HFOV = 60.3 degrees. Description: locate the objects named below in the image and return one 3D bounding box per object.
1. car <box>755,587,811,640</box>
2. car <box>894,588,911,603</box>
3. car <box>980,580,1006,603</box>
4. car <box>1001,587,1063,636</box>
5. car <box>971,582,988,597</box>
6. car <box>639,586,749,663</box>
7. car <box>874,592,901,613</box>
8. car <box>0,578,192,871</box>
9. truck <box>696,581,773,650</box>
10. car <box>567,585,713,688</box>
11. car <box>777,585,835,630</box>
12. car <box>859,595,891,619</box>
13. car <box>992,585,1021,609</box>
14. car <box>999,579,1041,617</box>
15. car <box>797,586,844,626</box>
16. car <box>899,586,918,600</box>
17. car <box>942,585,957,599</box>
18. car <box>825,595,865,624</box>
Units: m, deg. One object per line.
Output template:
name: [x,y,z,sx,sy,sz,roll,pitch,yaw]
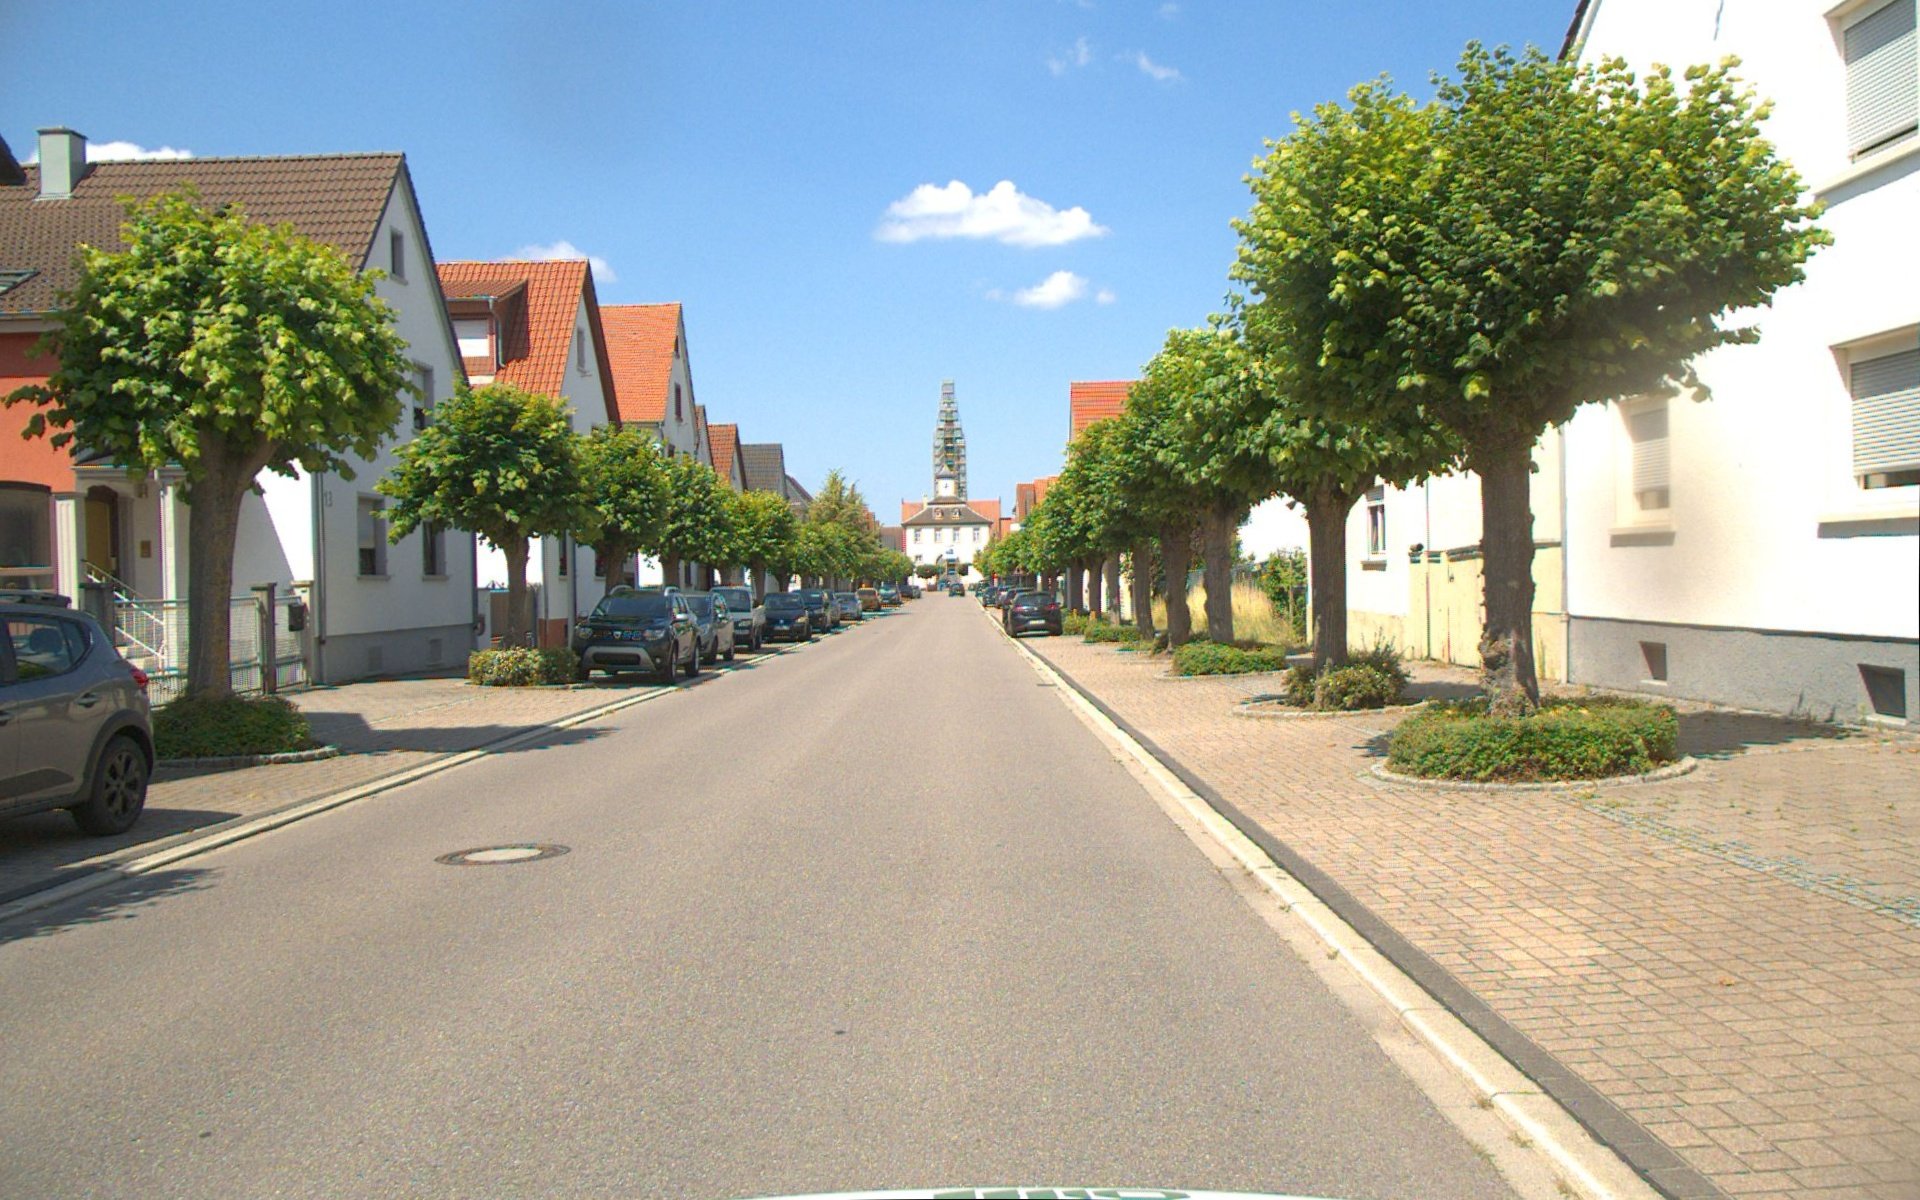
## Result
car: [-5.801,0.420,54.458,1.751,1.662,3.995,0,0,-6]
car: [-6.291,-0.490,181.646,1.721,1.582,4.020,-1,1,0]
car: [2.481,-0.642,124.608,1.800,1.582,4.313,-3,1,0]
car: [2.355,0.355,54.987,1.787,1.457,4.057,-3,1,0]
car: [2.198,-1.165,187.360,1.800,1.582,4.314,-3,1,0]
car: [-6.038,0.526,38.044,1.815,1.641,4.370,1,0,0]
car: [-6.050,0.210,138.752,1.952,1.639,4.690,0,1,1]
car: [-6.287,0.685,9.371,1.814,1.641,4.136,1,0,2]
truck: [-6.223,0.399,45.987,1.544,1.796,4.192,1,0,0]
car: [-5.733,0.596,30.128,1.815,1.665,4.299,1,1,0]
car: [-5.865,0.281,63.290,1.815,1.664,4.056,1,0,0]
car: [-5.992,0.504,117.097,1.952,1.639,4.689,0,0,1]
car: [3.270,-0.202,116.906,1.800,1.636,3.999,-1,0,-2]
car: [2.811,-0.133,76.525,1.786,1.613,4.059,-3,1,4]
car: [-6.099,0.244,72.629,1.954,1.681,4.364,1,0,-4]
car: [-5.807,-0.791,187.391,1.952,1.639,3.855,0,0,1]
car: [-1.153,-0.959,190.129,1.694,1.574,3.455,1,0,0]
car: [-6.022,0.480,87.056,1.803,1.420,4.406,0,0,-1]
